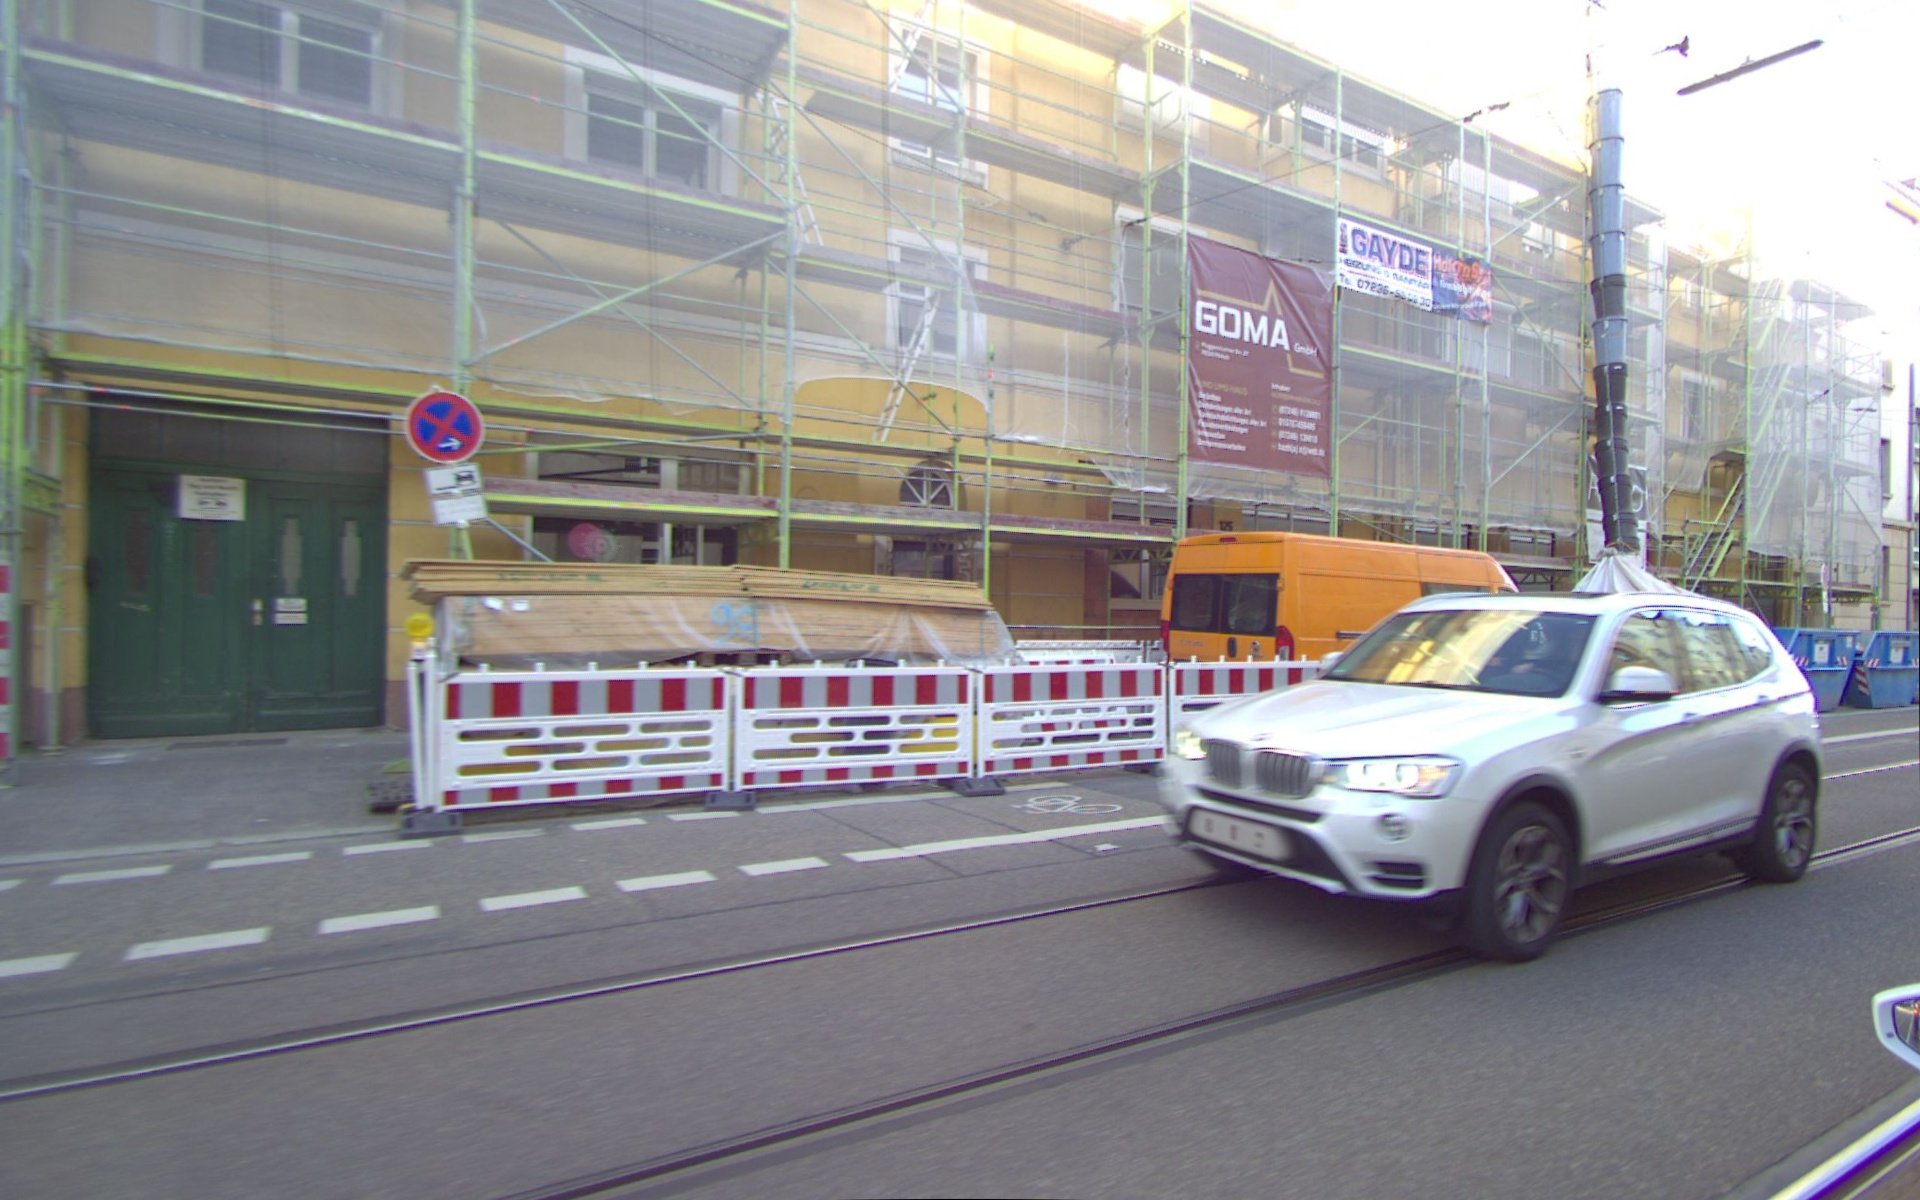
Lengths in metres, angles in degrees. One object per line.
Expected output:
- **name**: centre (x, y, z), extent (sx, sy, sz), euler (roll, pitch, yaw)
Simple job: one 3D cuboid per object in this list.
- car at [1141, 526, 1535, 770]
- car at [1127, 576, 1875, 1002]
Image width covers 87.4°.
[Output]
- **car**: centre (4.811, 0.547, 12.566), extent (4.926, 2.508, 2.132), euler (1, -1, -33)
- **car**: centre (3.273, 0.790, 5.836), extent (4.438, 1.653, 1.817), euler (1, -1, -31)
